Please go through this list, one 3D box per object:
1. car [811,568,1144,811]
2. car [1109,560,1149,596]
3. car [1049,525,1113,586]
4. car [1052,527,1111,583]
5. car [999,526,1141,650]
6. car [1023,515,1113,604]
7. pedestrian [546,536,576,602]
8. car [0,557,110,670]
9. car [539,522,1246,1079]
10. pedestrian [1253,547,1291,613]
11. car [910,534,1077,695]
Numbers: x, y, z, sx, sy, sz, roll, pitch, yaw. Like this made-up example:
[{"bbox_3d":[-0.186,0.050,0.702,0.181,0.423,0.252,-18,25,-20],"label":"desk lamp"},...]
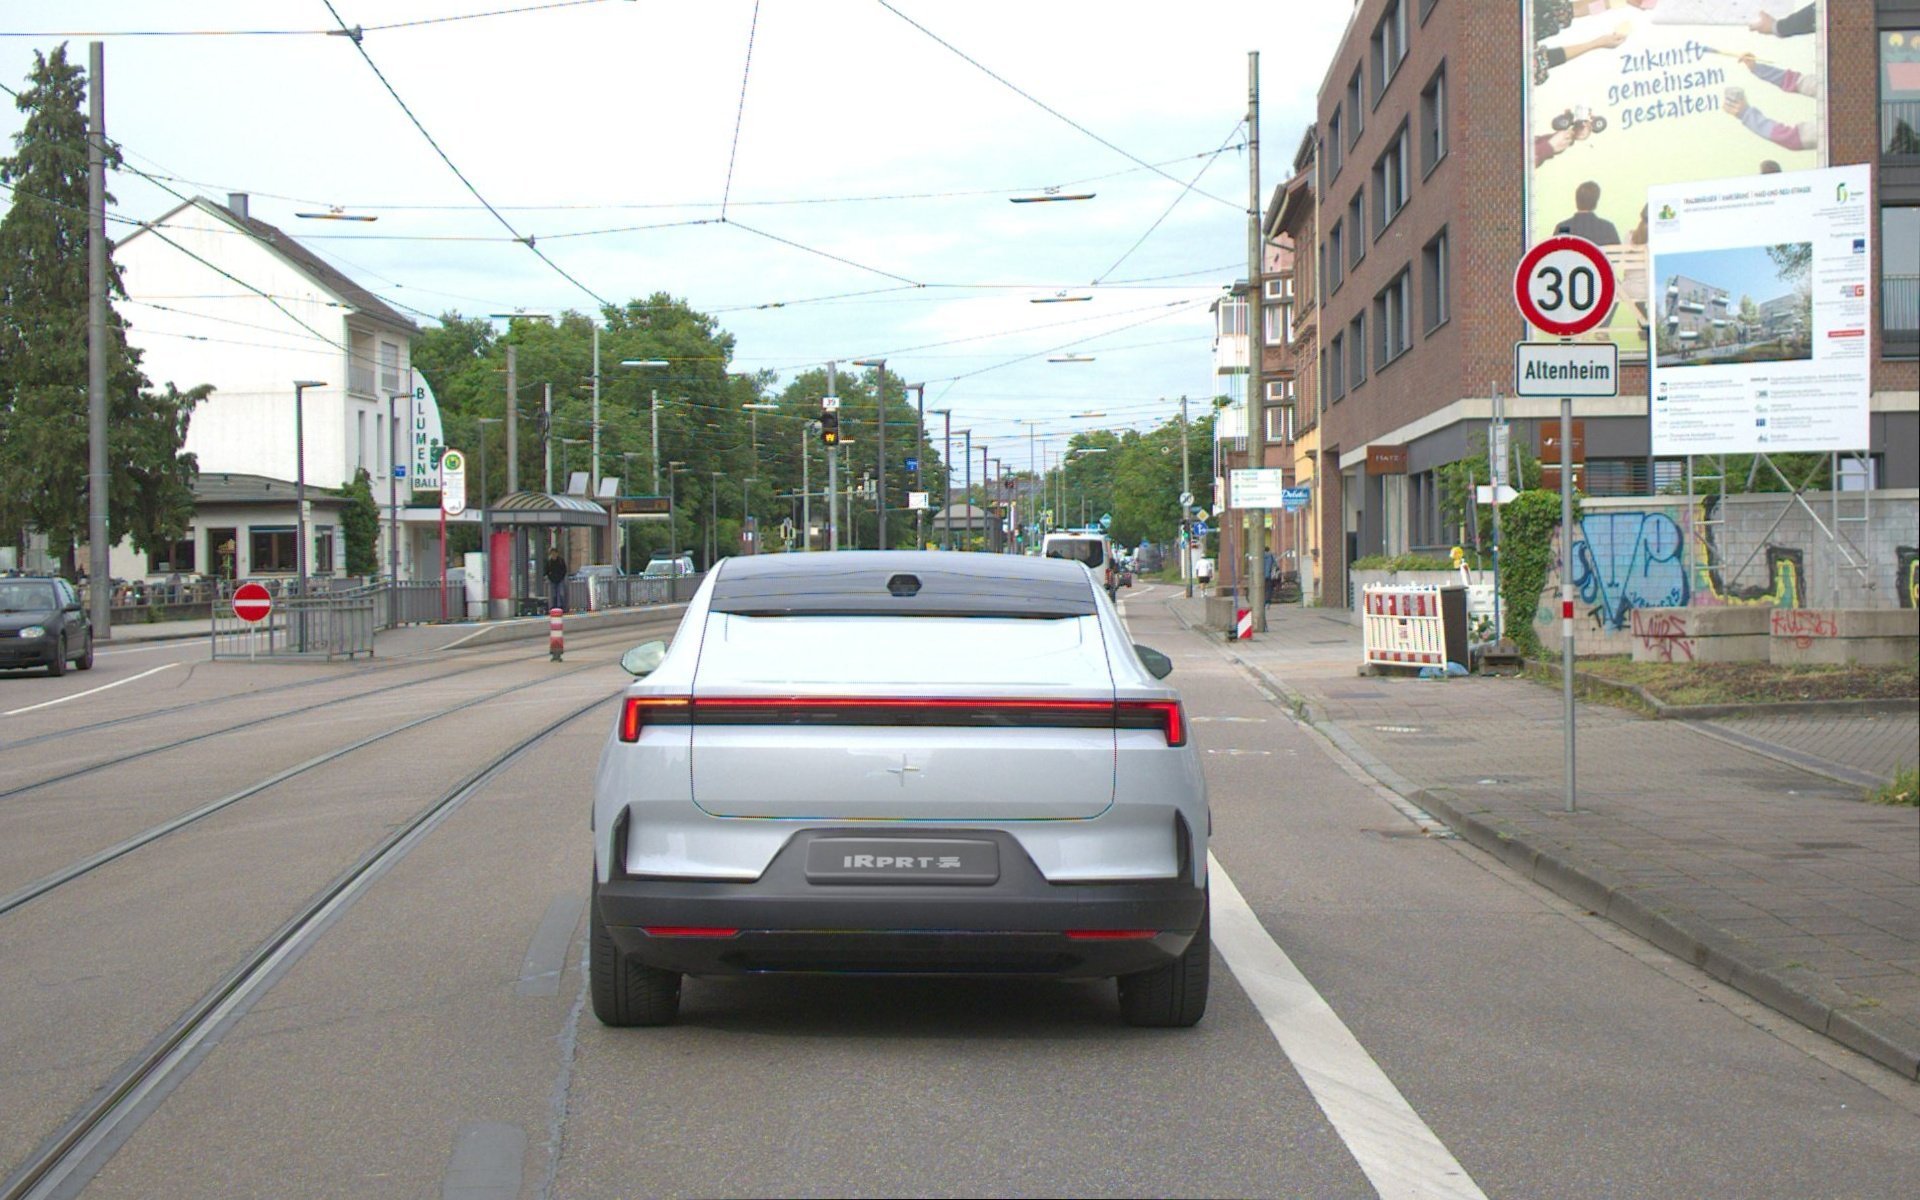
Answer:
[{"bbox_3d":[0.155,0.526,22.851,1.993,1.415,4.000,-1,1,1],"label":"car"},{"bbox_3d":[9.551,-1.275,194.916,1.993,2.007,4.000,0,0,-1],"label":"car"},{"bbox_3d":[4.127,-1.510,117.447,1.993,2.007,4.000,0,0,-1],"label":"car"},{"bbox_3d":[4.460,-1.650,127.039,1.993,2.007,4.000,0,0,-1],"label":"car"},{"bbox_3d":[1.663,-0.206,53.420,1.993,1.809,4.000,-1,1,-1],"label":"car"},{"bbox_3d":[2.963,-1.118,95.392,2.226,2.394,5.123,0,0,-1],"label":"car"},{"bbox_3d":[-10.030,-0.775,86.436,0.615,1.659,0.697,0,0,6],"label":"pedestrian"},{"bbox_3d":[-13.453,0.190,49.303,1.790,1.525,4.142,-3,1,-5],"label":"car"},{"bbox_3d":[-0.252,0.565,11.786,1.999,1.575,4.000,0,0,-2],"label":"car"},{"bbox_3d":[9.025,-0.582,99.476,0.961,1.844,0.975,-3,1,9],"label":"pedestrian"},{"bbox_3d":[0.415,0.137,38.097,1.681,1.682,3.823,0,0,3],"label":"car"}]
